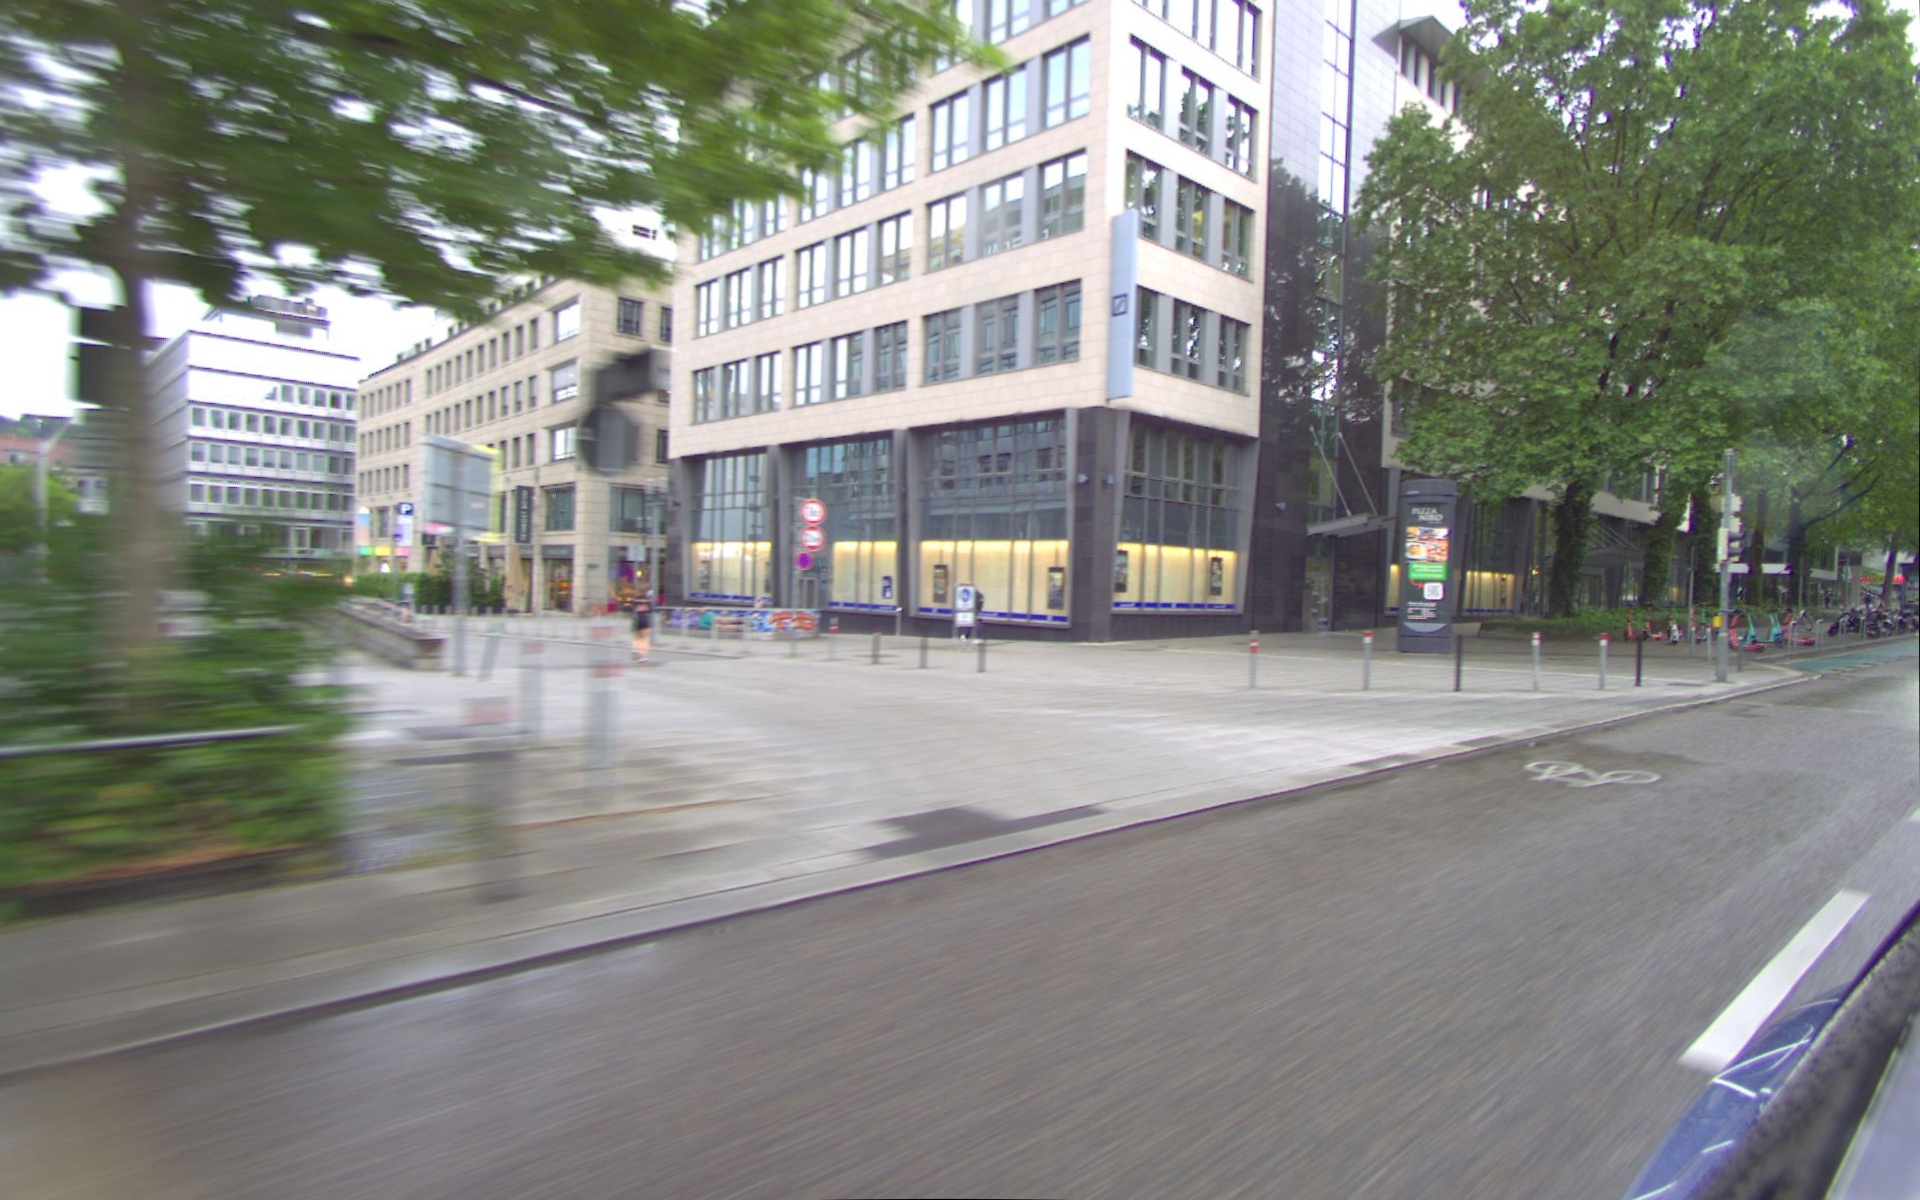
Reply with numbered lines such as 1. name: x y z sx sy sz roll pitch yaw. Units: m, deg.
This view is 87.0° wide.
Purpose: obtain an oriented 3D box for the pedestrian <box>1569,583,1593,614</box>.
1. pedestrian: 34.398 -0.085 56.049 0.813 1.714 0.729 2 1 3

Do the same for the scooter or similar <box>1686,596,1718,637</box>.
1. scooter or similar: 23.705 0.528 32.311 1.270 1.275 0.489 2 1 -40

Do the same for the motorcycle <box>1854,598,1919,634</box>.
1. motorcycle: 39.176 0.648 42.732 1.945 1.391 0.721 3 1 30

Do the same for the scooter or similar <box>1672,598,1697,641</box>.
1. scooter or similar: 21.838 0.574 30.484 0.487 1.212 1.275 1 2 41

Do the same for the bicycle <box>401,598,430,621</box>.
1. bicycle: -25.831 0.440 48.013 1.175 1.053 0.350 -1 1 -41

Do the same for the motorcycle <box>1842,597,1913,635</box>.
1. motorcycle: 36.772 0.644 40.593 1.949 1.391 0.720 4 1 35

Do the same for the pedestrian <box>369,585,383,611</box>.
1. pedestrian: -36.830 -0.120 63.795 0.676 1.652 0.684 0 0 -38

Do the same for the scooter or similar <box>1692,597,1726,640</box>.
1. scooter or similar: 22.735 0.564 30.710 1.270 1.275 0.489 2 1 -40

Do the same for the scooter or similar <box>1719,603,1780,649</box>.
1. scooter or similar: 23.428 0.760 30.033 0.479 1.275 1.296 2 1 -28

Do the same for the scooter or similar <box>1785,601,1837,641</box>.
1. scooter or similar: 28.905 0.703 34.382 1.288 1.294 0.529 4 1 40

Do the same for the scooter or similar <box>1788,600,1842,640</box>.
1. scooter or similar: 29.696 0.684 35.167 0.527 1.294 1.294 2 1 -35

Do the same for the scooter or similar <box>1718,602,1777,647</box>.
1. scooter or similar: 24.101 0.738 30.991 0.479 1.275 1.296 2 1 -28

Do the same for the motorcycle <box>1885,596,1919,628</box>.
1. motorcycle: 45.084 0.570 47.649 2.043 1.446 0.721 3 1 30

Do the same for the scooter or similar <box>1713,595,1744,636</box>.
1. scooter or similar: 24.904 0.512 32.781 1.270 1.275 0.489 2 1 -40

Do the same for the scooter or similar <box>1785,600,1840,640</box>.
1. scooter or similar: 29.373 0.691 34.873 0.527 1.294 1.294 2 1 -35

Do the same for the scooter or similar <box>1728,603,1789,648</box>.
1. scooter or similar: 23.935 0.751 30.360 0.479 1.275 1.296 2 1 -28

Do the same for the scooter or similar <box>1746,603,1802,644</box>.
1. scooter or similar: 26.419 0.747 32.868 0.480 1.251 1.293 2 1 -37

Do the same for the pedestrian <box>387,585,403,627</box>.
1. pedestrian: -27.685 0.286 49.598 0.562 2.039 0.705 1 0 -41

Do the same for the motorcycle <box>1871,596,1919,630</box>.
1. motorcycle: 41.810 0.595 44.837 1.945 1.391 0.721 3 1 30

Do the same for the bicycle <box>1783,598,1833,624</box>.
1. bicycle: 35.323 0.452 42.176 1.727 1.041 0.640 0 1 -11

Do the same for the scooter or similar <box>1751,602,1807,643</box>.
1. scooter or similar: 26.977 0.734 33.341 0.480 1.251 1.293 2 1 -37

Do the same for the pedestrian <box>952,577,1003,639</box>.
1. pedestrian: 0.535 0.238 31.218 1.269 1.873 0.908 0 1 36

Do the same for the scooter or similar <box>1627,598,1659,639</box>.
1. scooter or similar: 21.271 0.557 31.541 0.483 1.212 1.286 0 1 19

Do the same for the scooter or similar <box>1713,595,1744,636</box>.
1. scooter or similar: 24.904 0.512 32.781 1.270 1.275 0.489 2 1 -40

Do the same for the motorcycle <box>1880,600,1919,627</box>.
1. motorcycle: 46.533 0.664 49.523 2.031 1.227 0.682 3 3 16

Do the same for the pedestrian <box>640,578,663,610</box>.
1. pedestrian: -17.878 -0.350 58.674 0.726 1.854 1.069 1 0 44

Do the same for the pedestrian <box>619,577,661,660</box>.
1. pedestrian: -6.810 0.381 21.566 0.791 1.718 1.190 0 0 -15
